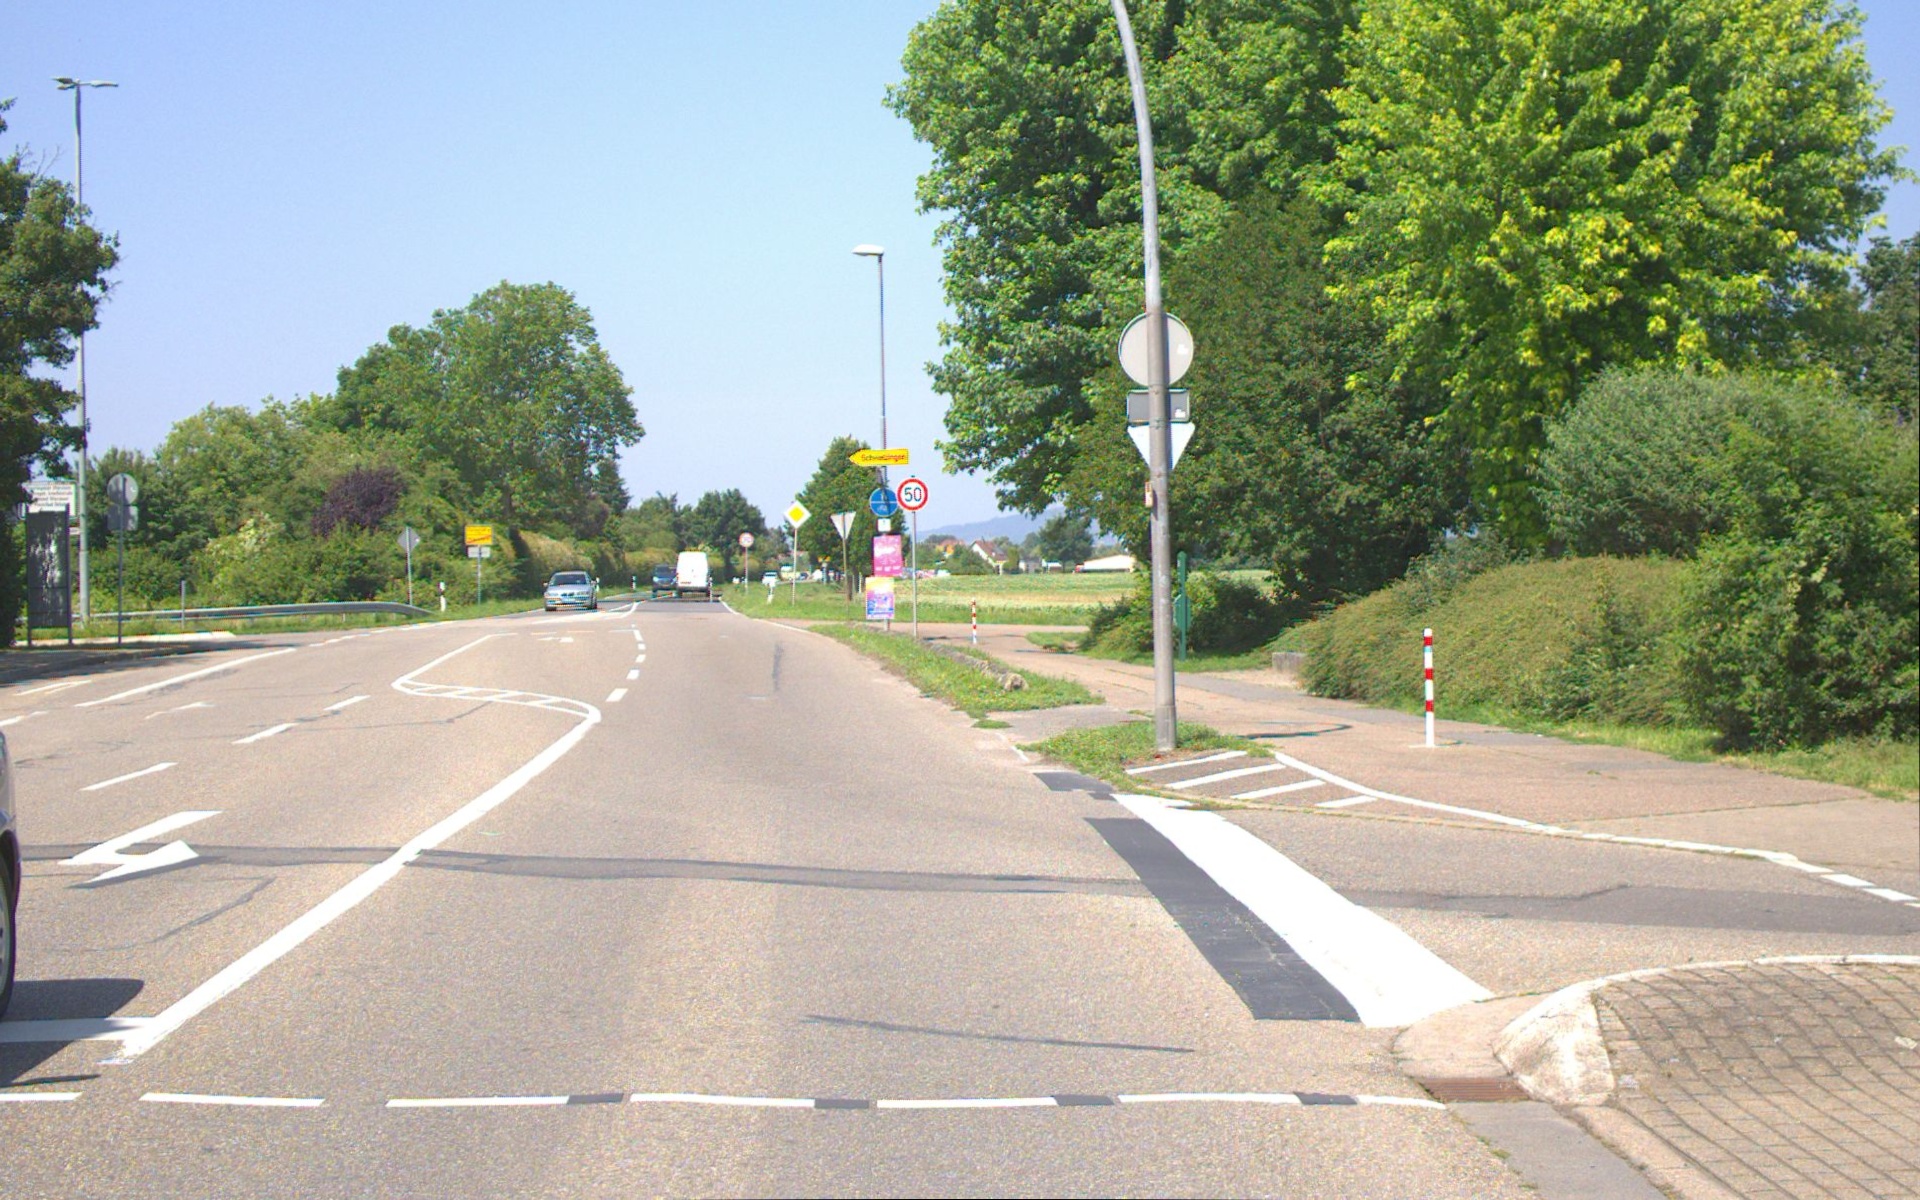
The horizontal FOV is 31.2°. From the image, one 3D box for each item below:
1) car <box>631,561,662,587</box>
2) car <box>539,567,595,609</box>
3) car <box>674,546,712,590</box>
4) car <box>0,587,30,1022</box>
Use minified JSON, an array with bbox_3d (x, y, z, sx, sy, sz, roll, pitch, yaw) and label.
[{"bbox_3d":[-23.324,-1.942,255.584,2.144,1.944,5.248,-1,1,-6],"label":"car"},{"bbox_3d":[-14.359,-0.444,125.861,1.636,1.466,4.416,-1,1,-1],"label":"car"},{"bbox_3d":[-16.337,-1.933,210.492,1.993,2.642,4.001,-1,1,-8],"label":"car"},{"bbox_3d":[-3.833,0.683,9.498,1.699,1.399,3.980,-1,1,-4],"label":"car"}]
